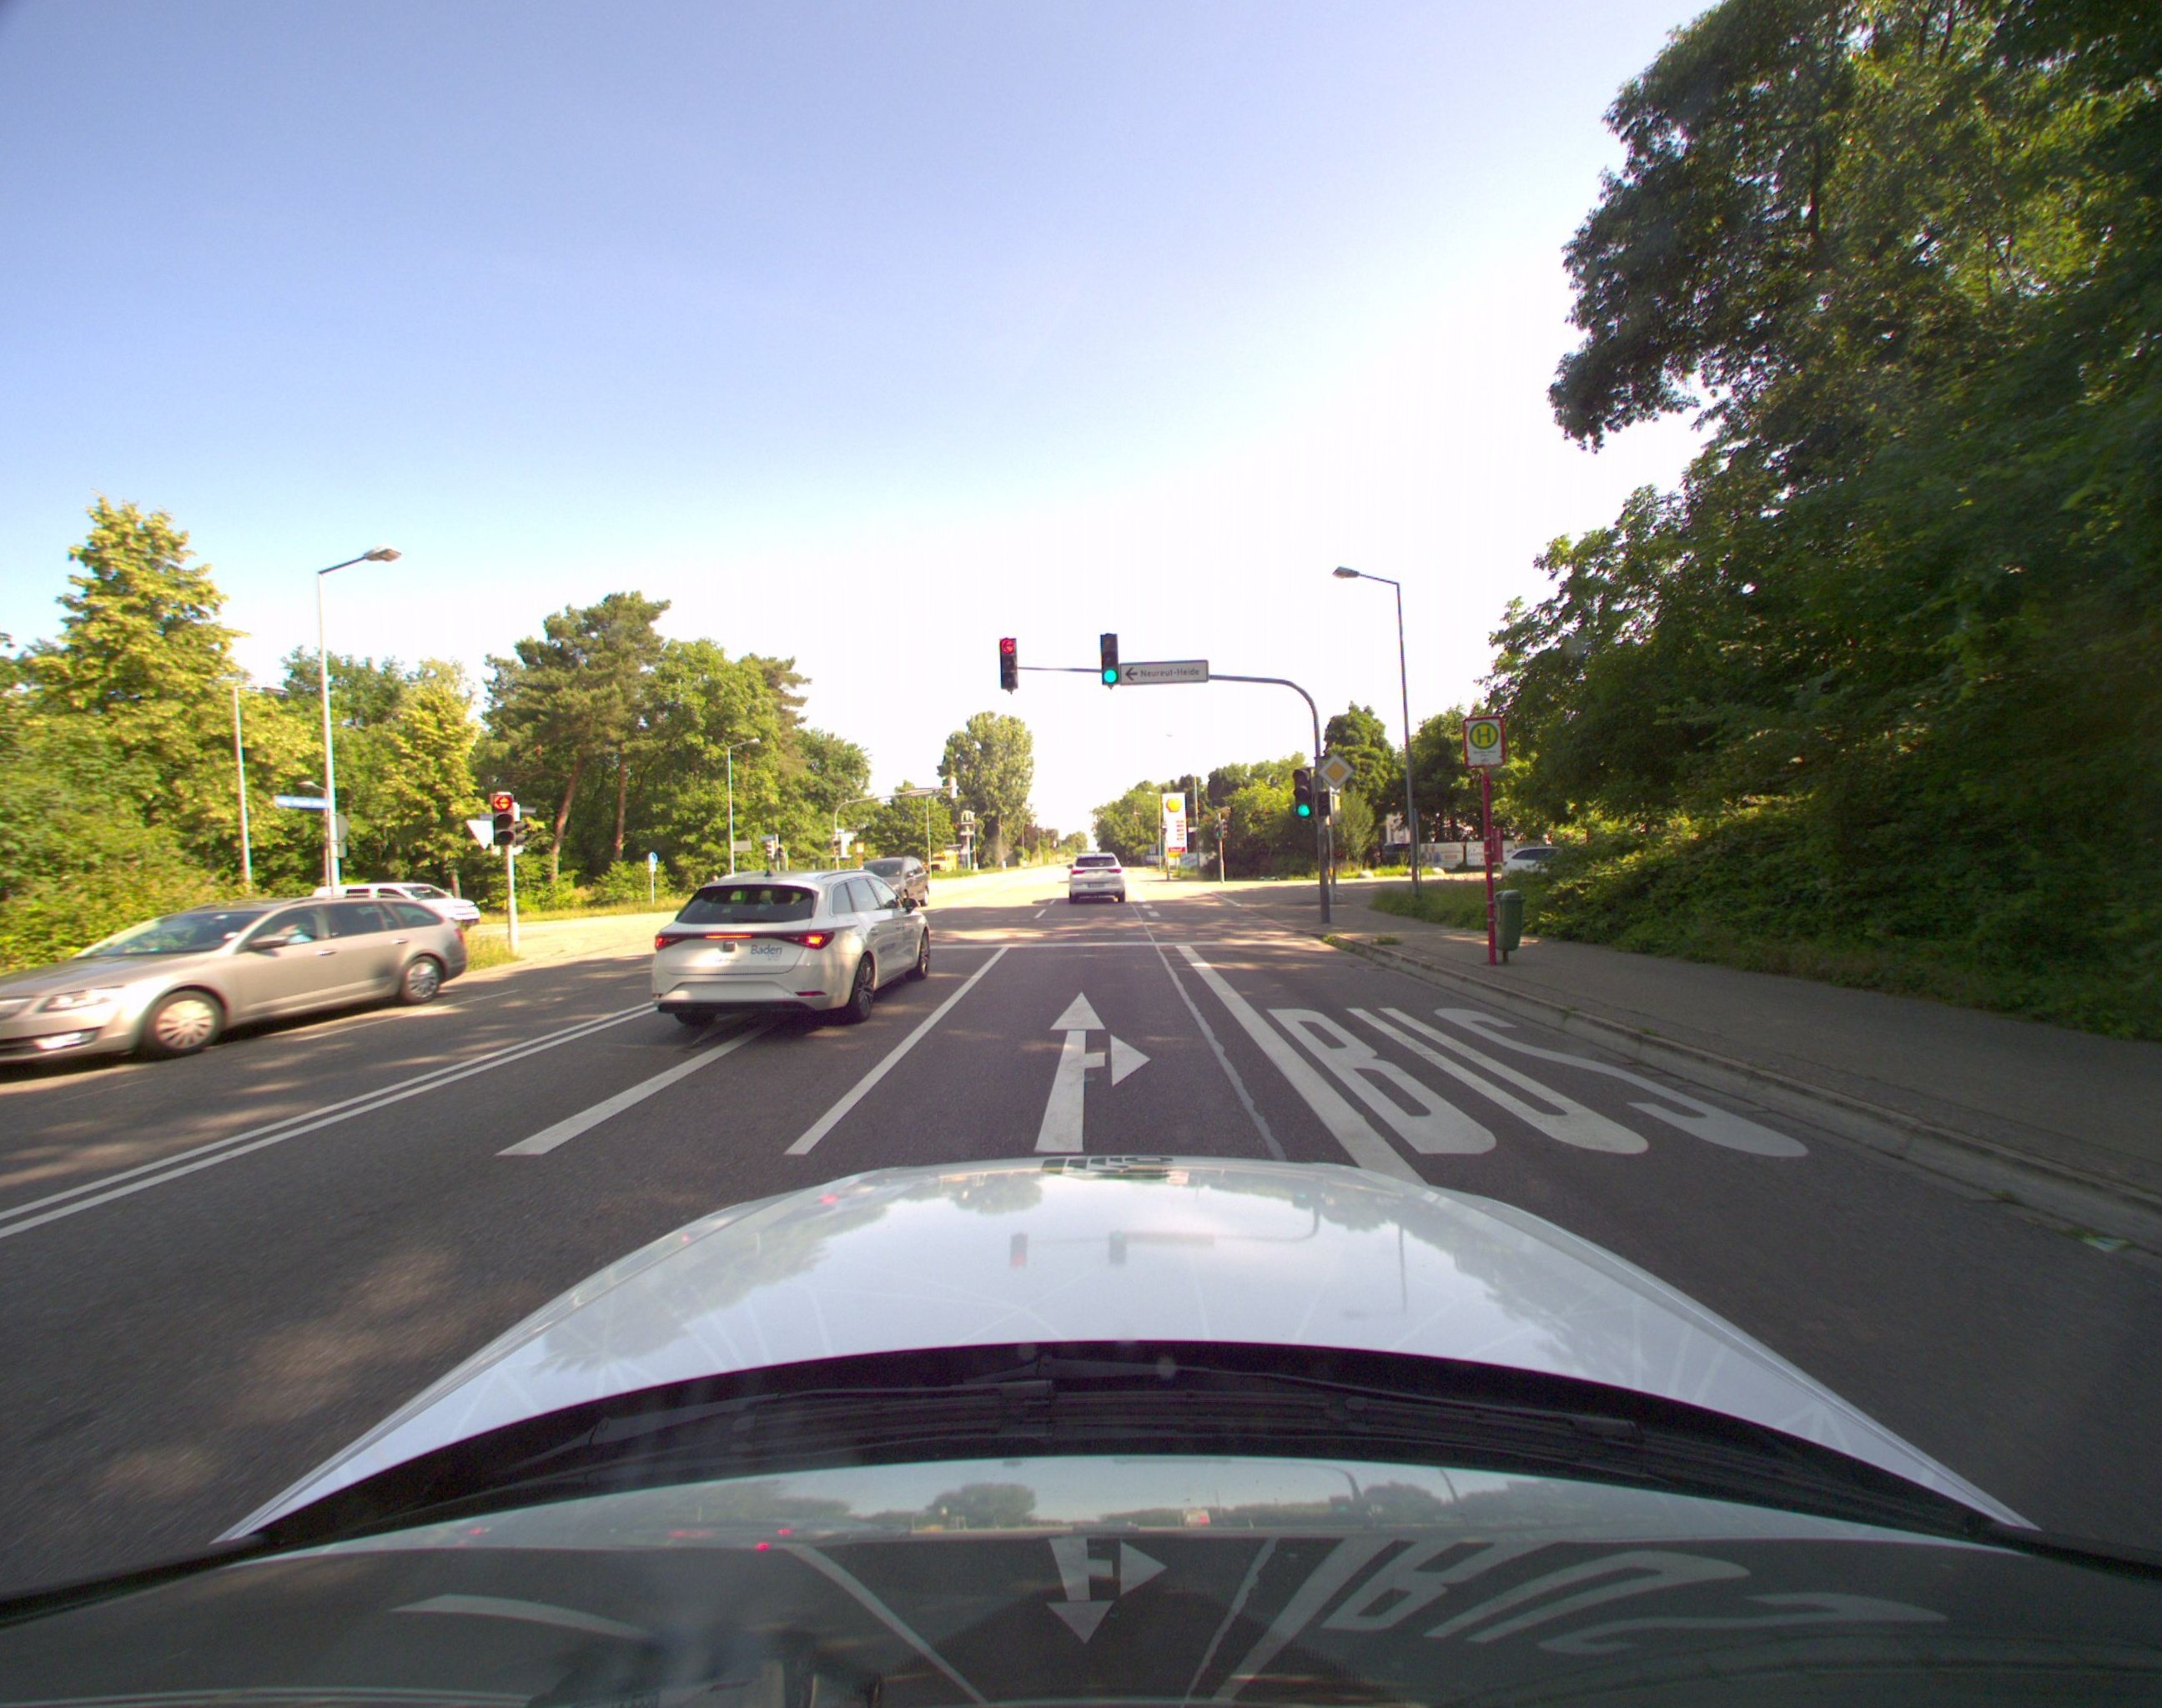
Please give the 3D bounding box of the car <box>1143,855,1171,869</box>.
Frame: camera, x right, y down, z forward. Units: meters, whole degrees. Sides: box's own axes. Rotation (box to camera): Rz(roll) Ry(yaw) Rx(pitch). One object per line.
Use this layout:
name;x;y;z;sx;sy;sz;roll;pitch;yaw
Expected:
car;8.310;0.884;89.350;1.587;1.530;2.697;1;-2;-45

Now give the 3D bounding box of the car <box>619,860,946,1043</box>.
car;-2.772;0.803;8.774;1.777;1.424;4.424;-1;0;1

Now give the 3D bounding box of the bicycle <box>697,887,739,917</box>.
bicycle;-15.939;2.084;35.808;0.730;1.163;2.372;-2;0;0

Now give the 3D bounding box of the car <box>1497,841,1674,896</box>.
car;15.211;0.429;24.898;1.628;1.464;4.586;-3;0;-19

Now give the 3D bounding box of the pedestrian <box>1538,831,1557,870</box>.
pedestrian;19.959;-0.167;34.859;0.602;1.629;0.417;-3;0;22

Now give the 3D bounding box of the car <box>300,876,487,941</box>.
car;-22.916;1.778;27.267;4.629;1.778;1.853;-4;-1;1

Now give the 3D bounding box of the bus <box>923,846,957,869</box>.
bus;-16.873;0.438;97.920;2.571;2.679;8.993;-1;-1;-1

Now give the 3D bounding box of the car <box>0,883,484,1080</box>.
car;-9.184;1.173;9.039;1.697;1.433;4.461;-4;0;0

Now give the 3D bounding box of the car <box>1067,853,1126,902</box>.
car;0.535;0.761;27.648;1.840;1.541;4.225;-1;-1;1

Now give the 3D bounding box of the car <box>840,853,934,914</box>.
car;-6.110;0.901;26.202;1.784;1.697;4.393;-4;-1;1

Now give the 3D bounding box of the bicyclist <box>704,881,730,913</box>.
bicyclist;-15.952;1.870;35.686;0.719;1.311;0.883;-2;0;-1
